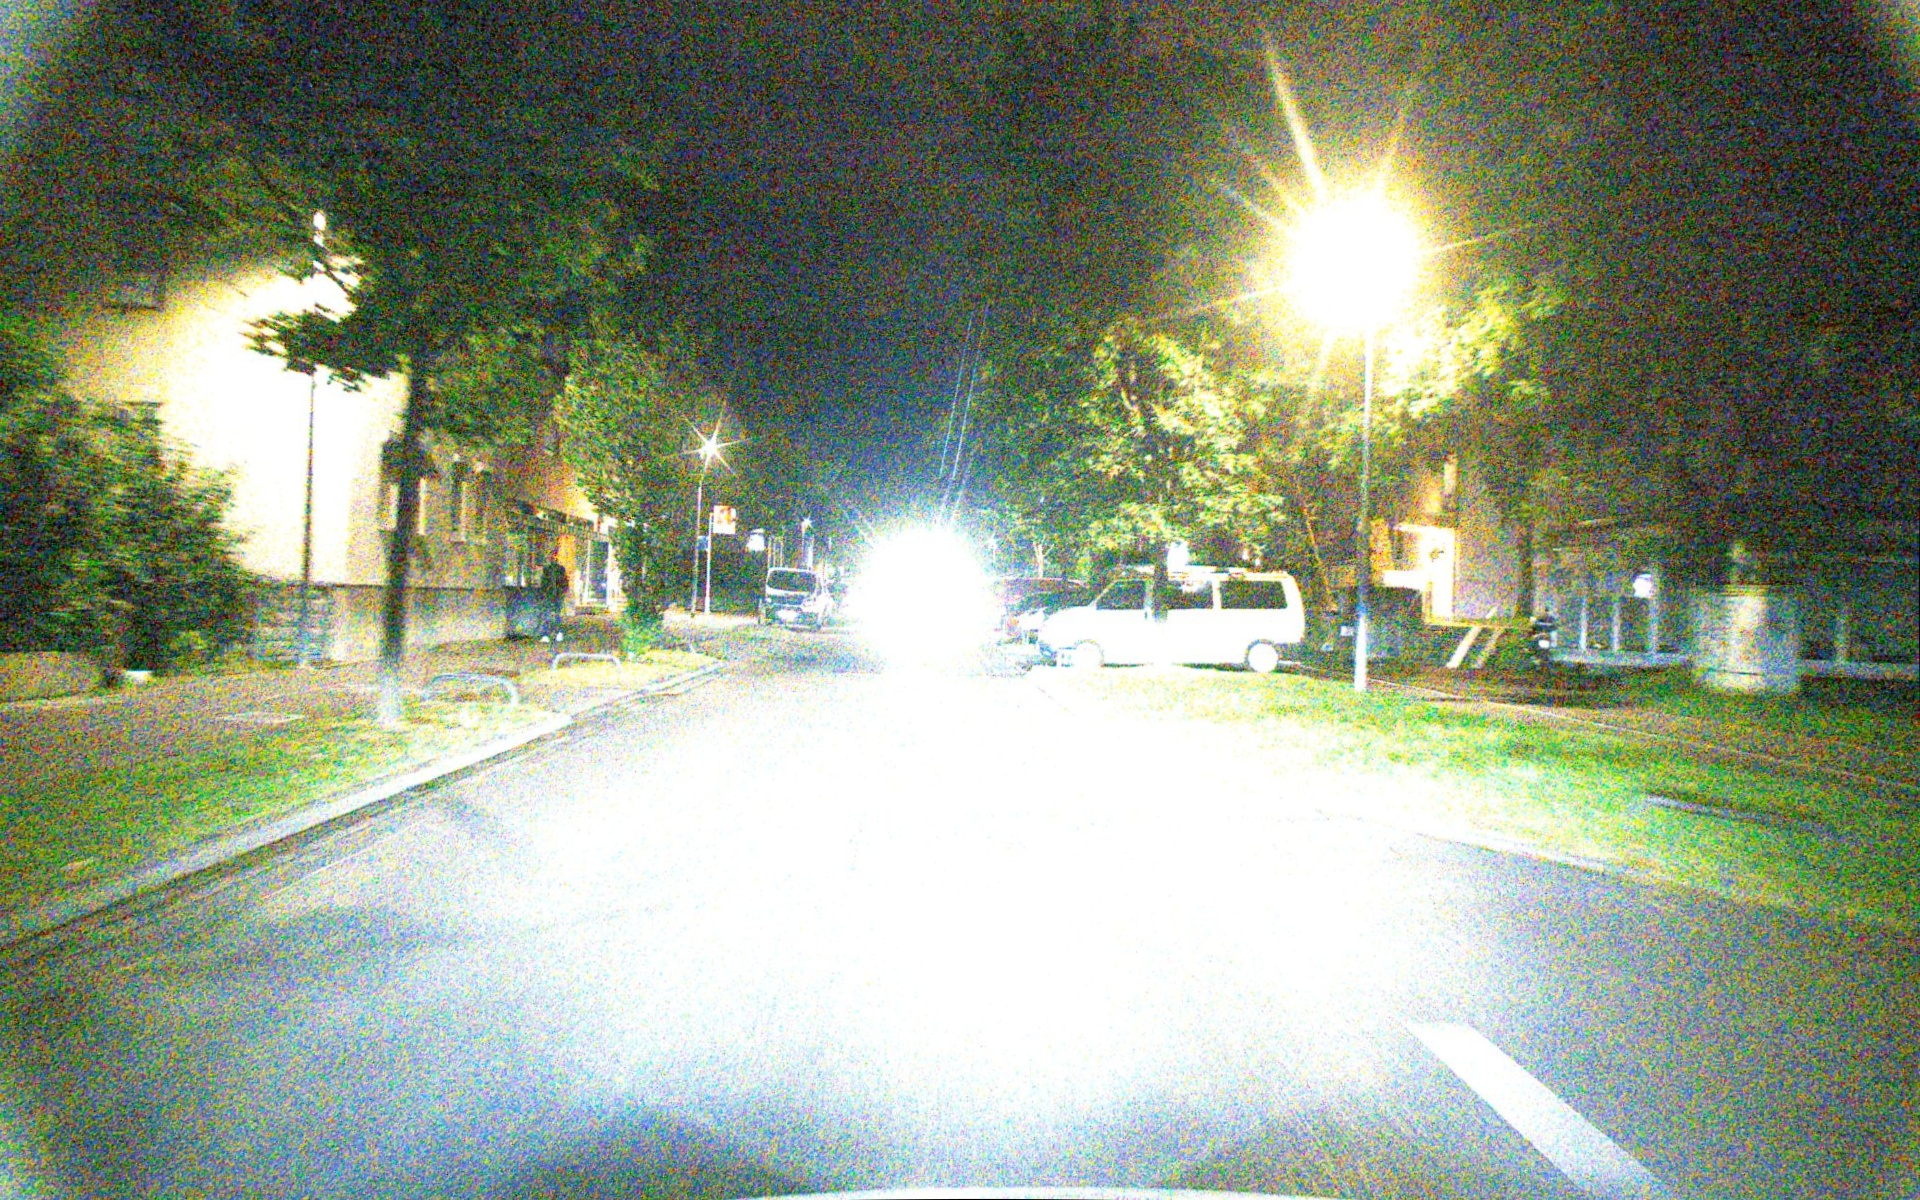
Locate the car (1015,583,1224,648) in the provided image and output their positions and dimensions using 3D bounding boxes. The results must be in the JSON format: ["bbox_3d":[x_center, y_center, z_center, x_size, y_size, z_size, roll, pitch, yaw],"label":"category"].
[{"bbox_3d":[4.009,0.374,42.176,5.078,1.622,2.101,0,0,-3],"label":"car"}]

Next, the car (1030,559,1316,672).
[{"bbox_3d":[3.932,0.274,31.129,5.078,2.049,2.101,0,0,-3],"label":"car"}]

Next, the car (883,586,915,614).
[{"bbox_3d":[-3.719,-0.029,100.427,1.888,1.677,3.820,0,1,-2],"label":"car"}]

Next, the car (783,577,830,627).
[{"bbox_3d":[-5.685,0.054,61.567,1.503,1.717,3.211,3,0,-2],"label":"car"}]

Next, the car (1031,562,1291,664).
[{"bbox_3d":[4.091,0.248,34.196,5.078,2.049,2.101,0,0,-3],"label":"car"}]

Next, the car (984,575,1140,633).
[{"bbox_3d":[3.474,0.111,55.806,5.072,1.920,2.103,0,0,8],"label":"car"}]

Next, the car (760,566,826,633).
[{"bbox_3d":[-5.468,-0.042,54.689,1.788,2.021,4.464,3,0,-2],"label":"car"}]

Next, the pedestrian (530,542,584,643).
[{"bbox_3d":[-8.476,-0.168,34.834,0.769,2.048,1.204,3,0,-1],"label":"pedestrian"}]

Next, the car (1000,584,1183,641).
[{"bbox_3d":[3.735,0.343,47.663,5.078,1.622,2.101,0,0,-3],"label":"car"}]

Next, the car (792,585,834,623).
[{"bbox_3d":[-5.916,0.153,66.594,1.503,1.476,3.118,1,0,-2],"label":"car"}]

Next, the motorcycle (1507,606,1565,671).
[{"bbox_3d":[13.009,0.832,37.303,1.048,1.350,2.706,2,1,22],"label":"motorcycle"}]

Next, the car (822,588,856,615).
[{"bbox_3d":[-6.367,0.086,87.448,1.649,1.354,3.598,1,0,-2],"label":"car"}]

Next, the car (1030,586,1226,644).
[{"bbox_3d":[4.527,0.394,45.128,5.078,1.551,2.101,0,0,-3],"label":"car"}]

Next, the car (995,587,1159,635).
[{"bbox_3d":[3.714,0.346,53.178,5.078,1.495,2.101,0,0,-3],"label":"car"}]

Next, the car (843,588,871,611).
[{"bbox_3d":[-6.399,-0.063,103.298,1.649,1.354,3.598,1,0,-2],"label":"car"}]
